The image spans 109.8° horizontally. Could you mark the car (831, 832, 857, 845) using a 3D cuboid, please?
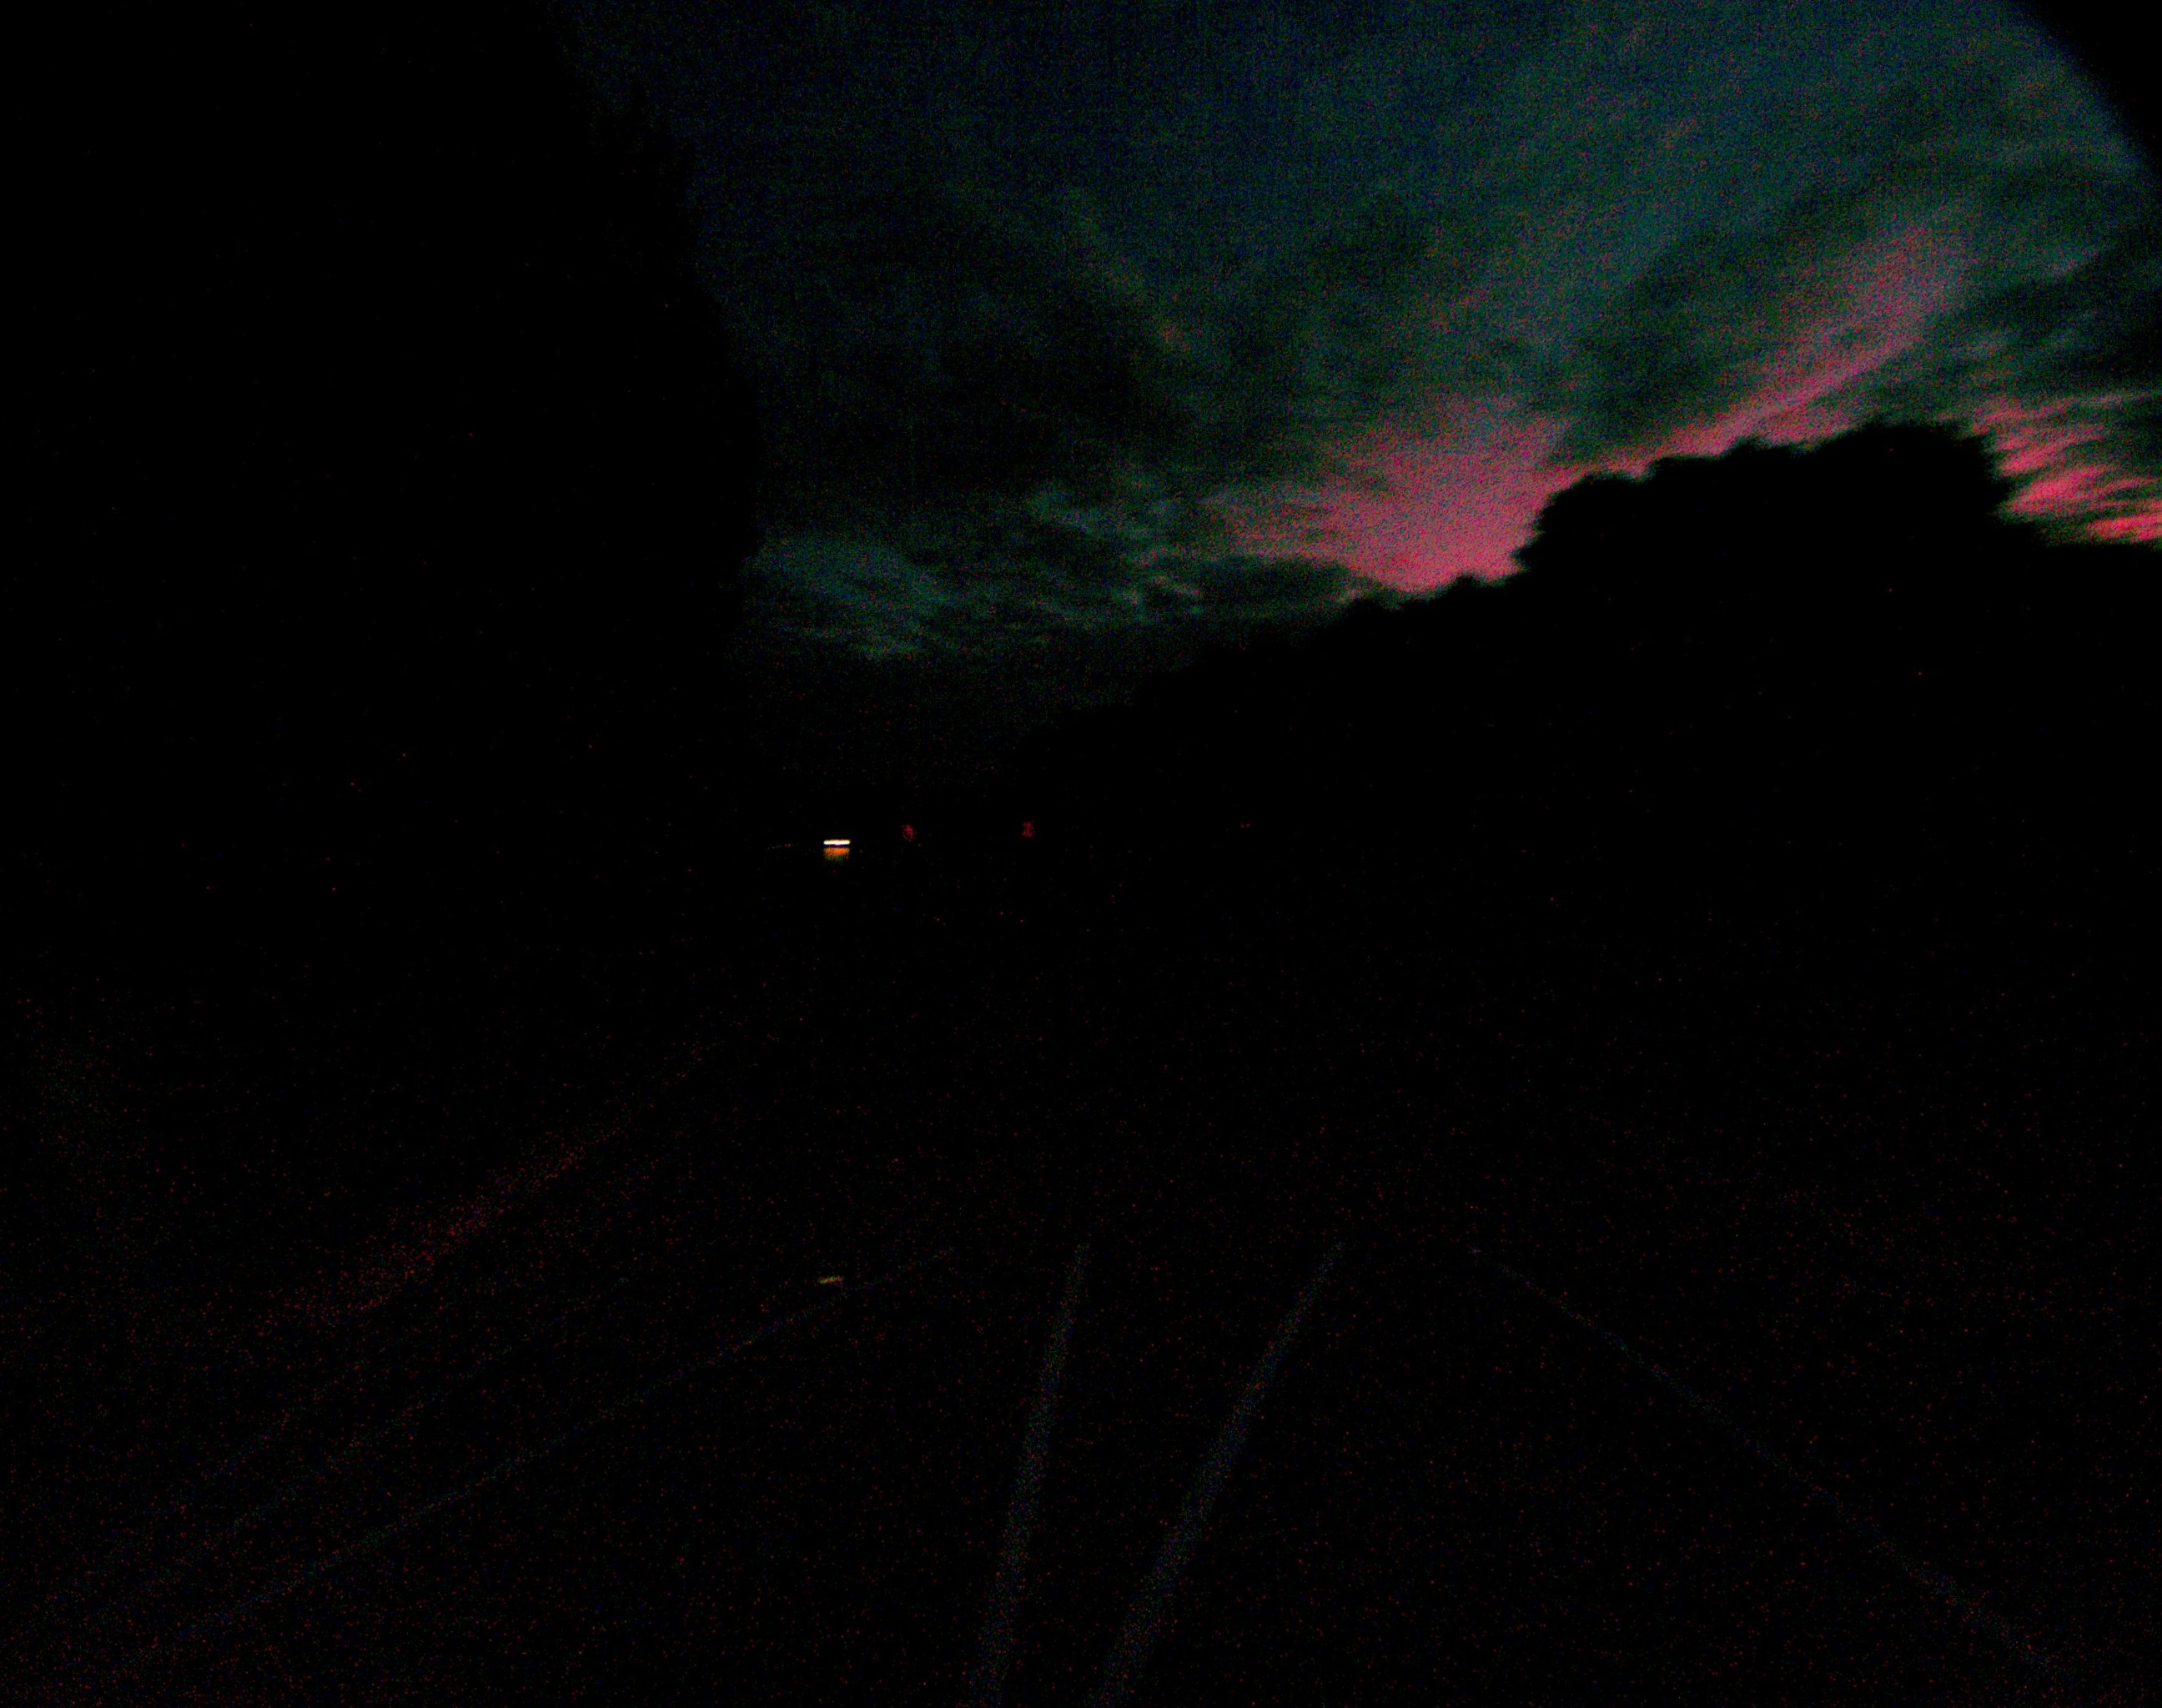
[{"bbox_3d":[-30.750,-2.039,98.807,1.785,1.644,4.000,0,3,5],"label":"car"}]
